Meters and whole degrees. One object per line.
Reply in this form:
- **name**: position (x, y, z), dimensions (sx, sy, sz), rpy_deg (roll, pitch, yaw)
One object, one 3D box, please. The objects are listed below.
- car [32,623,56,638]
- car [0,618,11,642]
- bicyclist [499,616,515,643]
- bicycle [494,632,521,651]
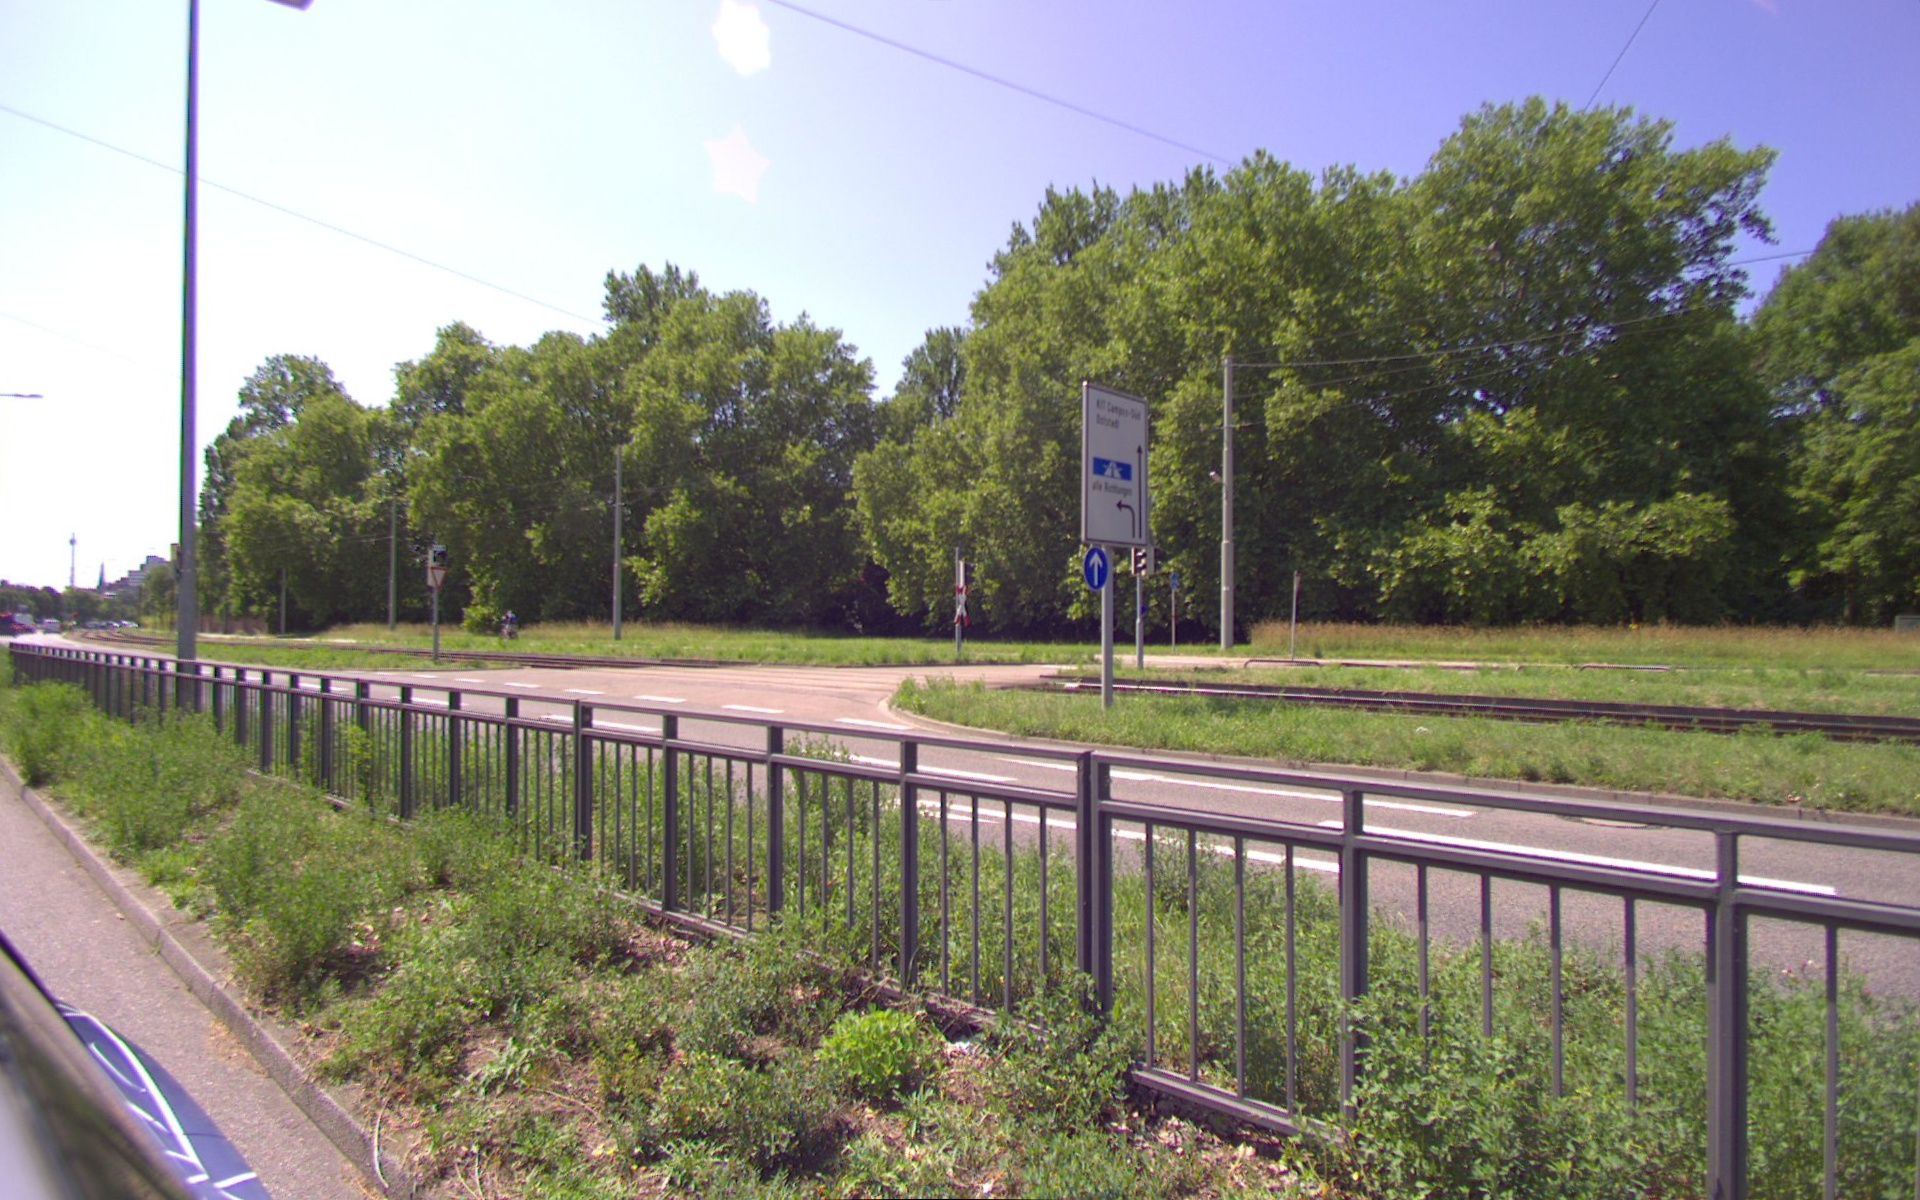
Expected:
- **car**: position (-130.149, 4.329, 143.780), dimensions (5.030, 2.029, 1.972), rpy_deg (-2, -4, 43)
- **car**: position (-100.280, 3.101, 105.133), dimensions (5.372, 2.384, 1.972), rpy_deg (-2, -3, 43)
- **bicyclist**: position (-22.733, 1.478, 50.785), dimensions (0.679, 1.346, 0.503), rpy_deg (-1, -1, 36)
- **bicycle**: position (-22.670, 2.077, 50.692), dimensions (1.563, 0.908, 0.503), rpy_deg (-1, -1, 36)
